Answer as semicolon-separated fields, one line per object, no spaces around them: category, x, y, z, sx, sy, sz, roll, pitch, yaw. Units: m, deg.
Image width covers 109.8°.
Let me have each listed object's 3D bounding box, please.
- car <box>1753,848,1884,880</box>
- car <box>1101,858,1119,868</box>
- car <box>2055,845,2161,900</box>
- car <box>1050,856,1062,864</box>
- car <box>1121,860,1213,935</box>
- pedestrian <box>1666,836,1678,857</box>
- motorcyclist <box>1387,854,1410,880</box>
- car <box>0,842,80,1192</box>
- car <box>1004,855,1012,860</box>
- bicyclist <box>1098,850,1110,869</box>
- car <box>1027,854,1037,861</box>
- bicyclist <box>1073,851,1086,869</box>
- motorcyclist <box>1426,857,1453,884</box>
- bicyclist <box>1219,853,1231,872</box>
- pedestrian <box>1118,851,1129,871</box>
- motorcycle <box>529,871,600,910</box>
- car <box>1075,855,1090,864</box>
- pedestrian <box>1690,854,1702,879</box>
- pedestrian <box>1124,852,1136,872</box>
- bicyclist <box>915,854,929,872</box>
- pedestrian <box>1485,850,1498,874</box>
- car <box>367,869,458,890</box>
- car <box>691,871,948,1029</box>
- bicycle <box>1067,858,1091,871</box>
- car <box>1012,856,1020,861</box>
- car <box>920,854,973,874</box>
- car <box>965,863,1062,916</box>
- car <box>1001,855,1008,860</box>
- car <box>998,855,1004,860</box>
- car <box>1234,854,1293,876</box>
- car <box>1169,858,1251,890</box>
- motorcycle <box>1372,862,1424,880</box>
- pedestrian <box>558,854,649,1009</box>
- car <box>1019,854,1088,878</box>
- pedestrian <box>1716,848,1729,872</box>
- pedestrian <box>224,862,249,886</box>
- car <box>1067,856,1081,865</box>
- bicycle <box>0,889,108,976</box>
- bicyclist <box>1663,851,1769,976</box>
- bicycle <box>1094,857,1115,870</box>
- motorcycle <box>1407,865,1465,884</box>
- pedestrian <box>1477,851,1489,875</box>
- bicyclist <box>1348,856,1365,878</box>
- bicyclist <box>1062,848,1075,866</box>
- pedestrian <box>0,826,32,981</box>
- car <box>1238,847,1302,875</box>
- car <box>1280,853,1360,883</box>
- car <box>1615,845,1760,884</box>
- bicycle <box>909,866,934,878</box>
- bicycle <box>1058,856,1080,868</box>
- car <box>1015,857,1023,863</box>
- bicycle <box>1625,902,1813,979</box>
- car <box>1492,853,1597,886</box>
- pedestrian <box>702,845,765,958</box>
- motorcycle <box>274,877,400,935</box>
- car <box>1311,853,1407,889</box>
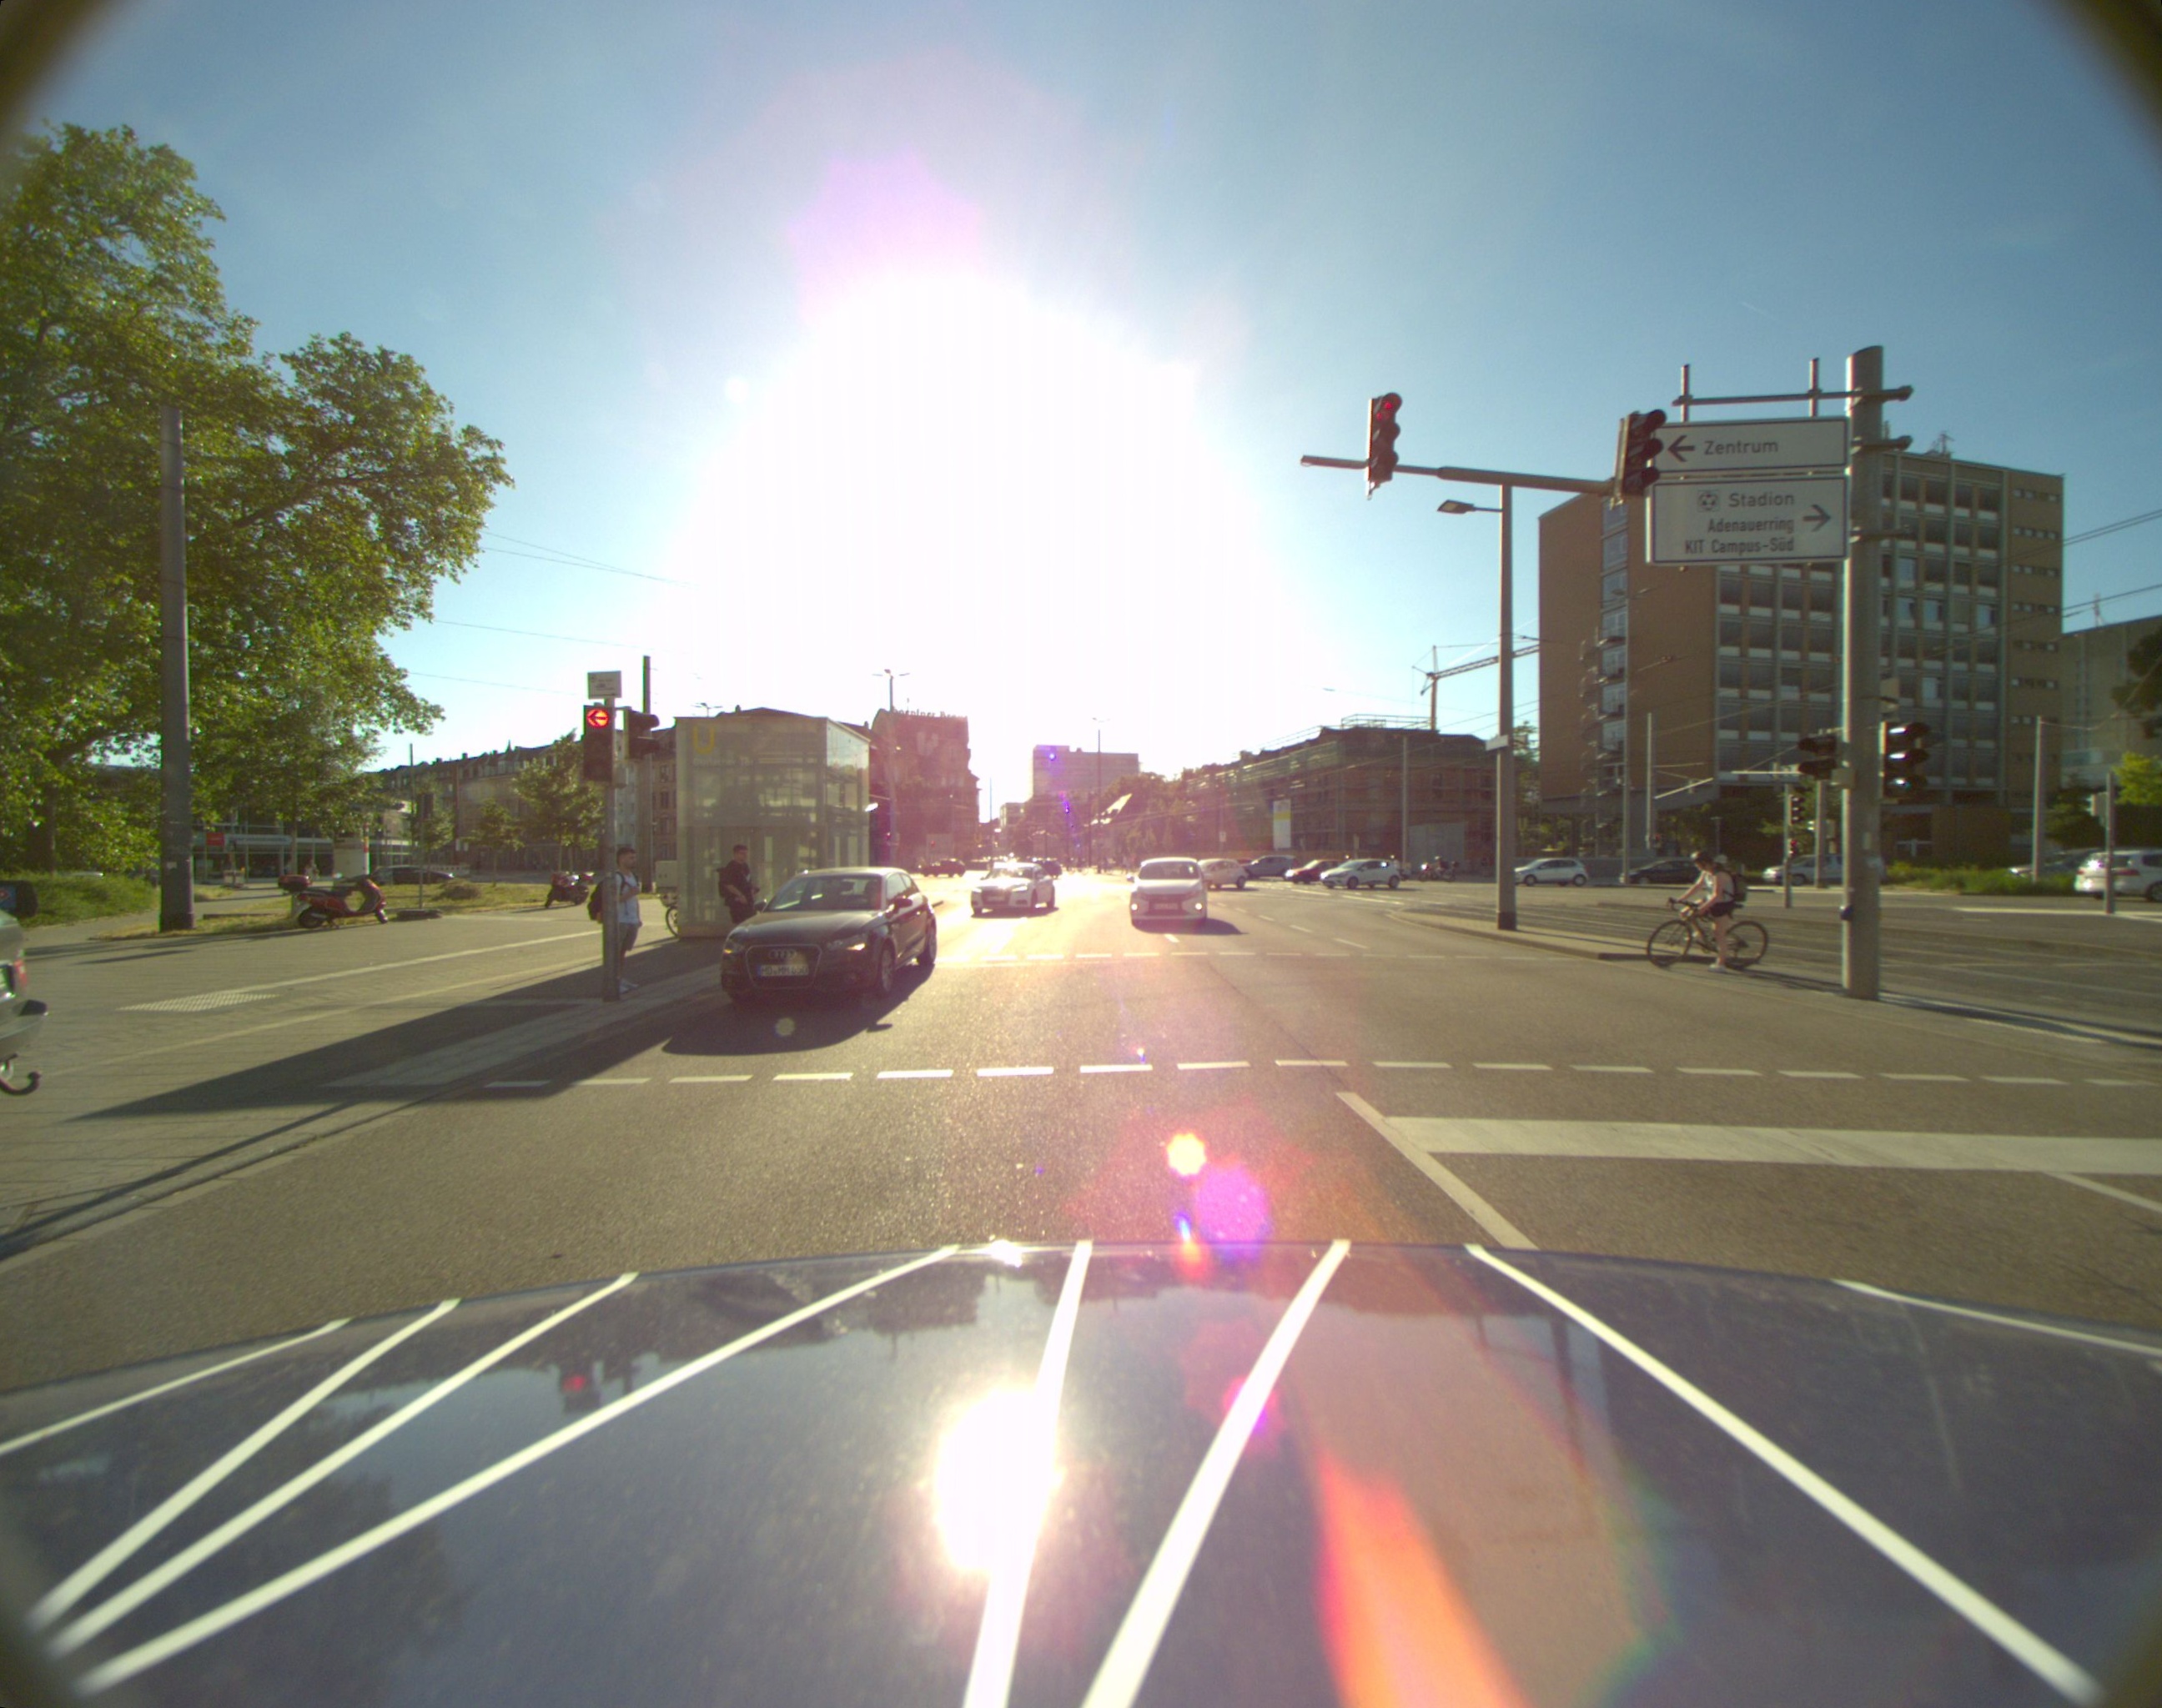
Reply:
car;39.944;0.548;41.312;4.697;1.673;2.004;0;-2;19
car;4.398;1.429;115.713;1.757;1.455;4.015;-1;-1;-13
car;35.998;0.625;25.100;4.456;1.723;1.944;1;0;14
car;-5.301;1.265;158.917;1.757;1.455;4.015;-1;-1;-13
car;2.105;0.911;17.651;1.719;1.484;3.874;0;0;12
pedestrian;46.550;-0.553;59.848;0.503;1.625;0.574;0;-2;8
motorcyclist;21.378;0.886;51.186;1.451;1.657;1.120;0;-2;21
car;-7.323;0.887;2.659;4.259;1.803;1.955;-2;0;-41
car;-22.990;1.013;238.959;1.757;1.455;4.015;-1;-1;-13
bicyclist;1.998;0.463;66.652;0.974;1.651;0.649;0;-2;5
car;-12.286;0.851;191.043;1.757;1.455;4.015;-1;-1;-13
bicyclist;-0.093;0.539;65.904;0.973;1.559;0.649;0;-2;16
motorcyclist;22.507;1.046;47.716;1.451;1.657;1.120;0;-2;21
bicyclist;13.352;0.824;70.331;1.014;1.699;0.695;1;4;21
pedestrian;3.986;0.666;71.114;0.693;1.837;0.817;2;-3;-44
motorcycle;-15.268;1.061;22.538;1.041;1.067;2.279;1;0;-15
car;0.198;0.986;134.270;1.757;1.455;4.015;-1;-1;-13
pedestrian;40.950;0.839;50.595;0.503;1.625;0.428;0;-2;7
pedestrian;4.618;0.745;71.827;0.693;1.837;0.817;2;-3;-44
bicyclist;-14.492;0.814;69.226;0.973;1.685;0.769;0;0;20
pedestrian;30.598;0.580;56.639;0.732;1.730;0.622;0;2;11
car;-44.542;1.703;50.753;1.750;1.328;4.176;0;-2;21
car;-2.903;0.987;9.358;1.694;1.380;3.832;-3;0;1
bicycle;-0.183;0.919;65.924;1.899;1.116;0.649;0;-2;16
car;-18.683;1.346;218.872;1.757;1.455;4.015;-1;-1;-13
car;-11.269;0.819;63.711;4.009;1.457;1.758;1;6;22
car;-1.894;0.996;22.800;1.824;1.380;4.461;-1;0;9
car;-24.696;1.131;244.430;1.757;1.455;4.015;-1;-1;-13
car;-26.887;1.200;254.926;1.757;1.455;4.015;-1;-1;-13
car;13.097;0.785;54.472;4.011;1.455;1.759;-2;0;17
car;6.469;0.948;37.933;3.923;1.455;1.779;-1;1;-36
motorcycle;21.318;1.152;51.223;3.225;1.187;1.120;0;-2;21
pedestrian;-5.554;0.860;8.888;0.698;1.718;0.752;-1;1;-16
car;-2.050;0.902;55.911;4.644;1.485;1.819;-2;5;19
pedestrian;45.081;0.416;53.376;0.623;1.701;0.487;-1;-2;35
pedestrian;-54.773;1.310;49.257;0.830;1.506;0.724;0;1;9
car;-1.252;1.192;139.974;1.757;1.455;4.015;-1;-1;-13
bicycle;-14.624;1.007;9.656;1.032;1.116;2.535;0;-2;17
bicyclist;8.490;0.770;10.192;0.676;1.607;0.815;1;1;-5
bicycle;2.048;0.869;66.654;1.774;1.116;0.649;0;-2;5
motorcycle;22.312;1.296;47.792;3.225;1.187;1.120;0;-2;21
pedestrian;29.939;0.643;56.591;0.620;1.730;0.667;1;3;42
bicyclist;20.634;0.962;56.949;0.695;1.579;1.014;-4;5;-40
bicyclist;-1.138;0.300;70.074;0.972;1.685;0.649;0;0;26
pedestrian;-14.626;0.627;9.602;1.032;2.001;1.272;0;-2;17
car;12.532;0.460;50.205;3.992;1.598;2.001;-2;3;16
car;13.813;0.842;44.033;3.998;1.673;2.000;1;-2;-3
car;32.478;0.572;40.945;5.752;2.001;2.004;0;-2;21
bicycle;-14.508;1.625;69.230;2.101;1.021;0.769;0;0;20
bicycle;-1.124;0.747;70.073;1.902;1.021;0.649;0;0;26
car;-17.251;1.660;211.298;1.757;1.596;4.015;-1;-1;-13
bicycle;8.523;1.146;10.204;1.894;0.936;0.815;1;1;-5
car;24.193;0.791;39.806;4.278;1.666;2.001;-1;1;5
pedestrian;-5.536;0.726;12.106;0.796;1.718;0.868;-1;1;-31
motorcycle;-15.557;1.065;15.970;0.880;1.040;1.803;1;2;-2
car;13.796;0.815;37.749;4.288;1.666;1.996;-1;1;-23
